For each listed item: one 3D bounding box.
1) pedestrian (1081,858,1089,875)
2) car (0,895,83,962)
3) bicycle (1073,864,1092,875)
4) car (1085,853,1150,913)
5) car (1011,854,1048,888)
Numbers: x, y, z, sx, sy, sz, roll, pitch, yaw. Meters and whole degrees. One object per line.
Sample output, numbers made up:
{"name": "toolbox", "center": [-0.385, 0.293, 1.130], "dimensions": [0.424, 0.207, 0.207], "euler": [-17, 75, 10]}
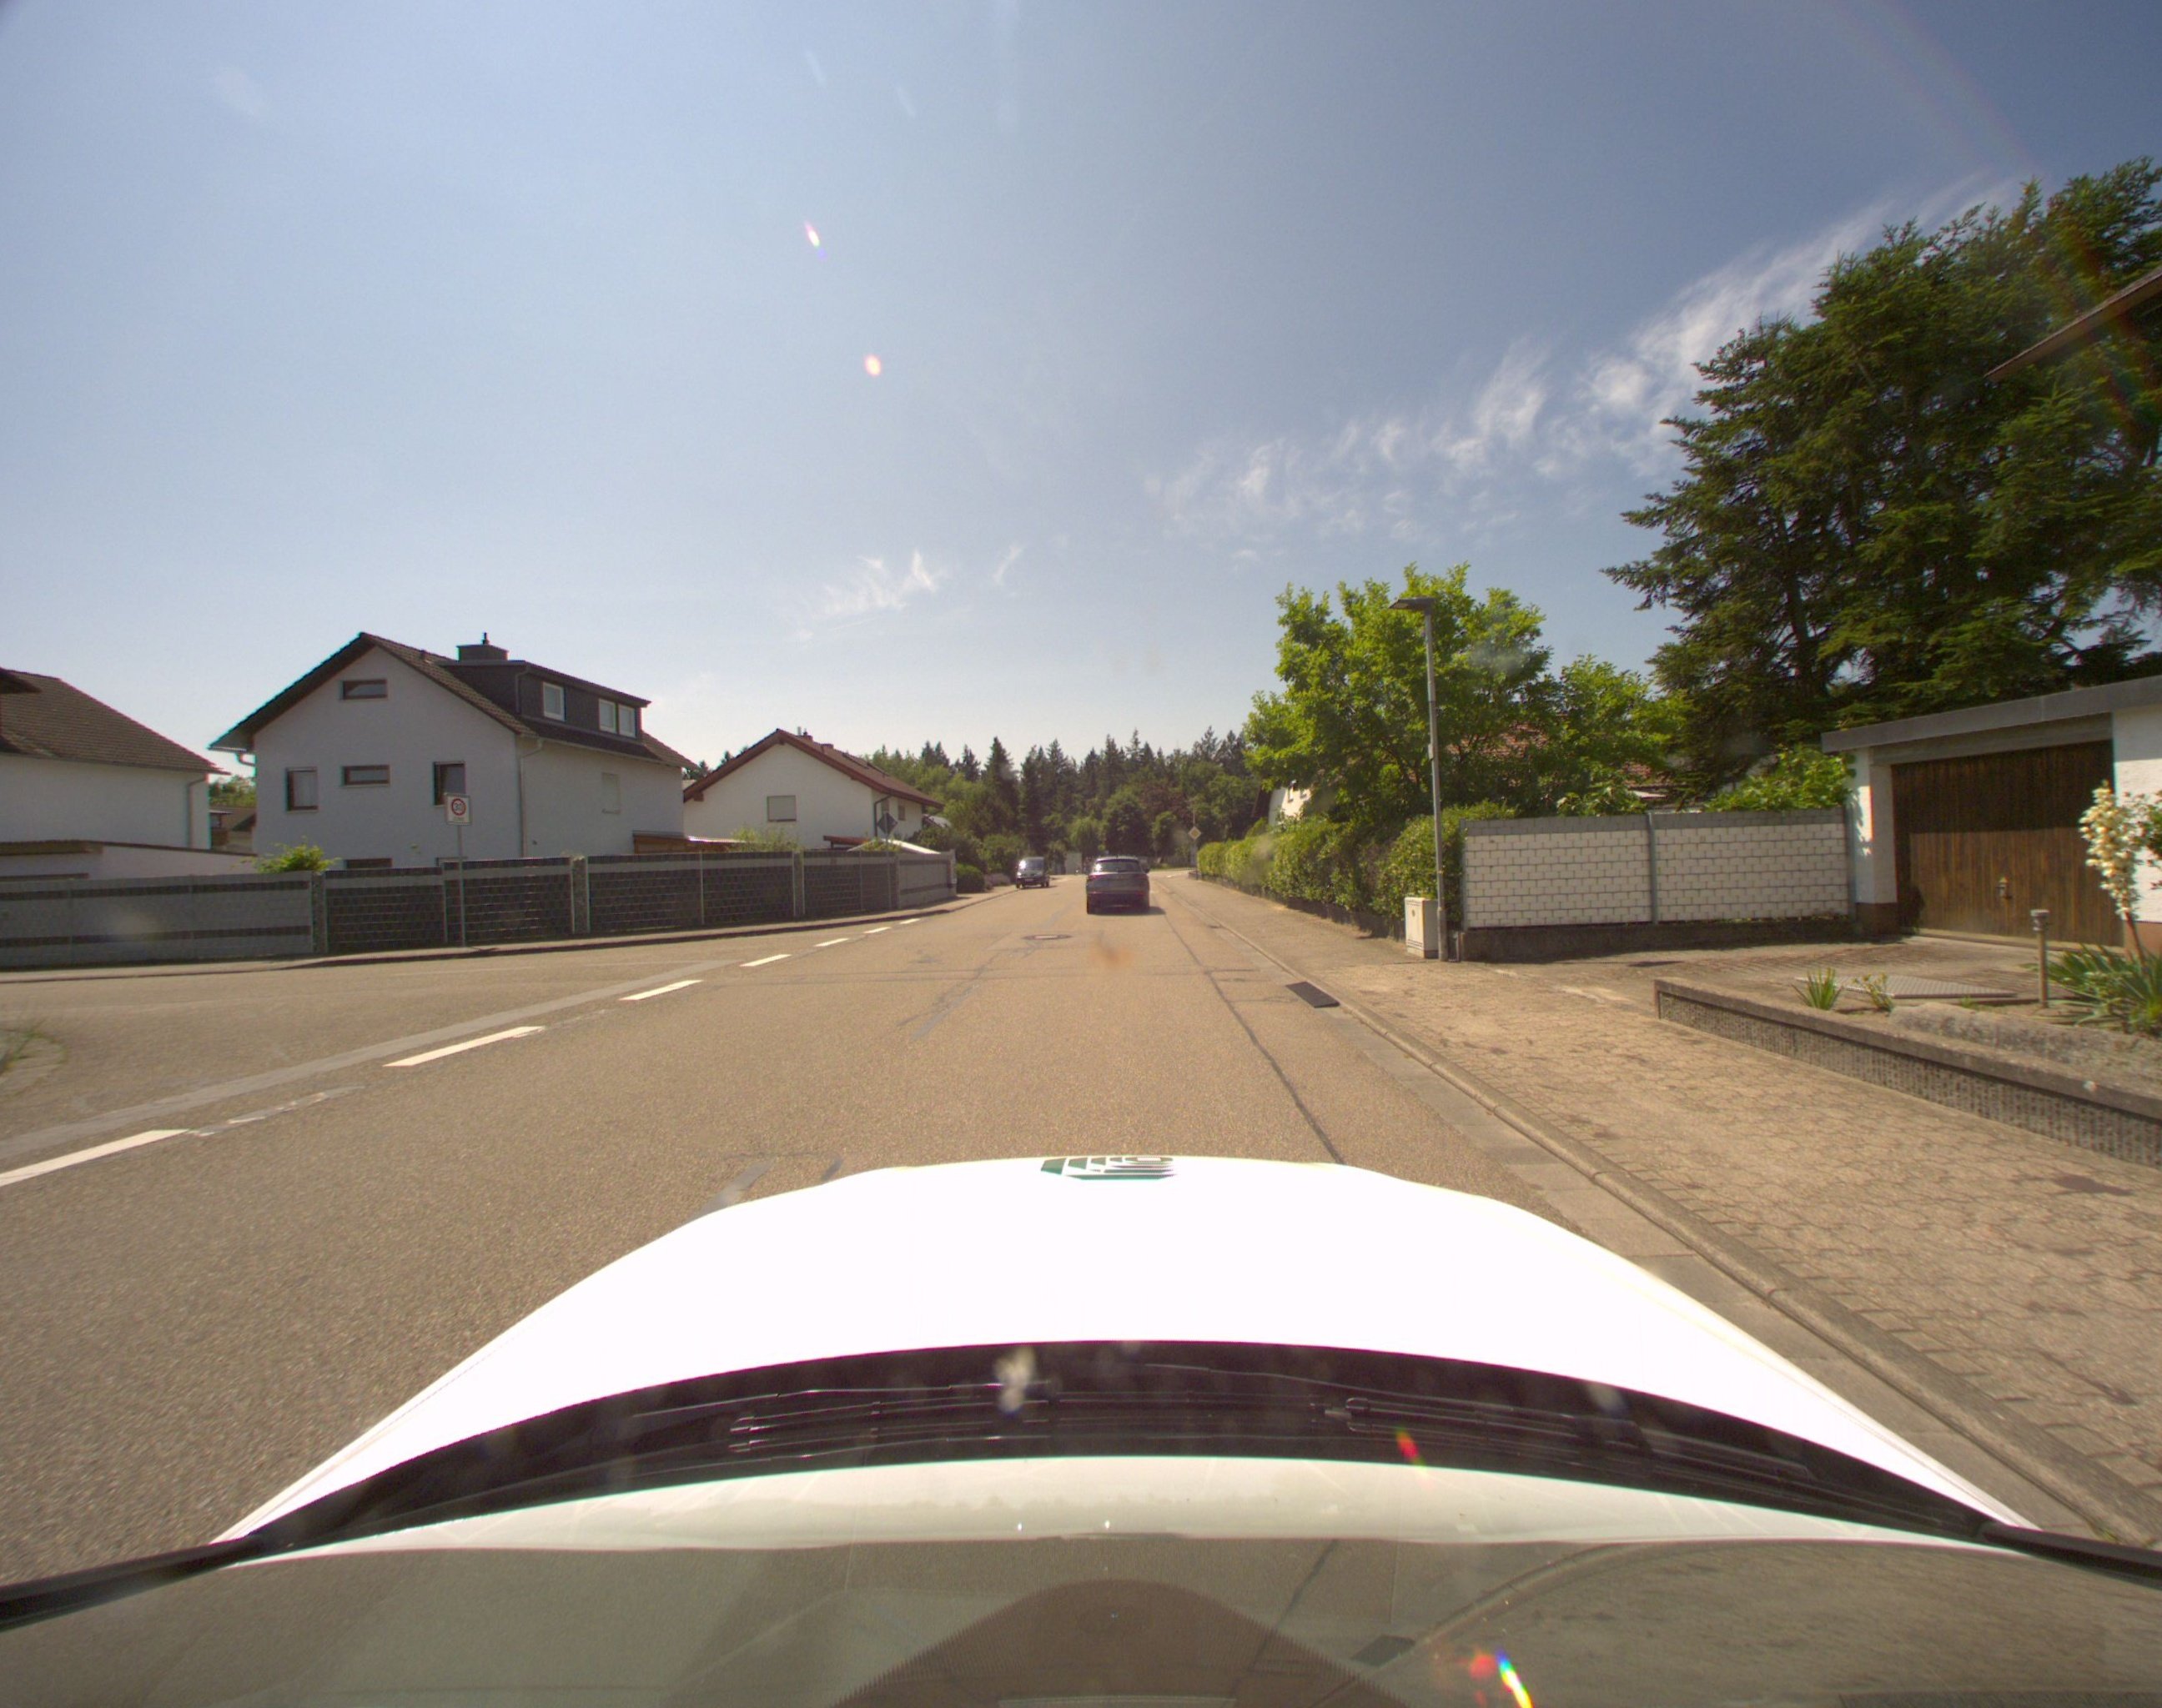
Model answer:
{"name": "pedestrian", "center": [0.374, 1.135, 75.181], "dimensions": [0.615, 1.501, 0.499], "euler": [0, -1, -37]}
{"name": "car", "center": [-27.872, 1.907, 19.965], "dimensions": [1.760, 1.596, 4.002], "euler": [-2, -1, 2]}
{"name": "bicycle", "center": [0.124, 1.410, 75.613], "dimensions": [1.857, 0.964, 0.438], "euler": [-1, -1, -38]}
{"name": "car", "center": [1.052, 0.809, 23.934], "dimensions": [1.755, 1.618, 4.002], "euler": [0, -1, 2]}
{"name": "car", "center": [-2.973, 0.965, 47.663], "dimensions": [1.711, 1.846, 4.056], "euler": [-1, -1, 2]}
